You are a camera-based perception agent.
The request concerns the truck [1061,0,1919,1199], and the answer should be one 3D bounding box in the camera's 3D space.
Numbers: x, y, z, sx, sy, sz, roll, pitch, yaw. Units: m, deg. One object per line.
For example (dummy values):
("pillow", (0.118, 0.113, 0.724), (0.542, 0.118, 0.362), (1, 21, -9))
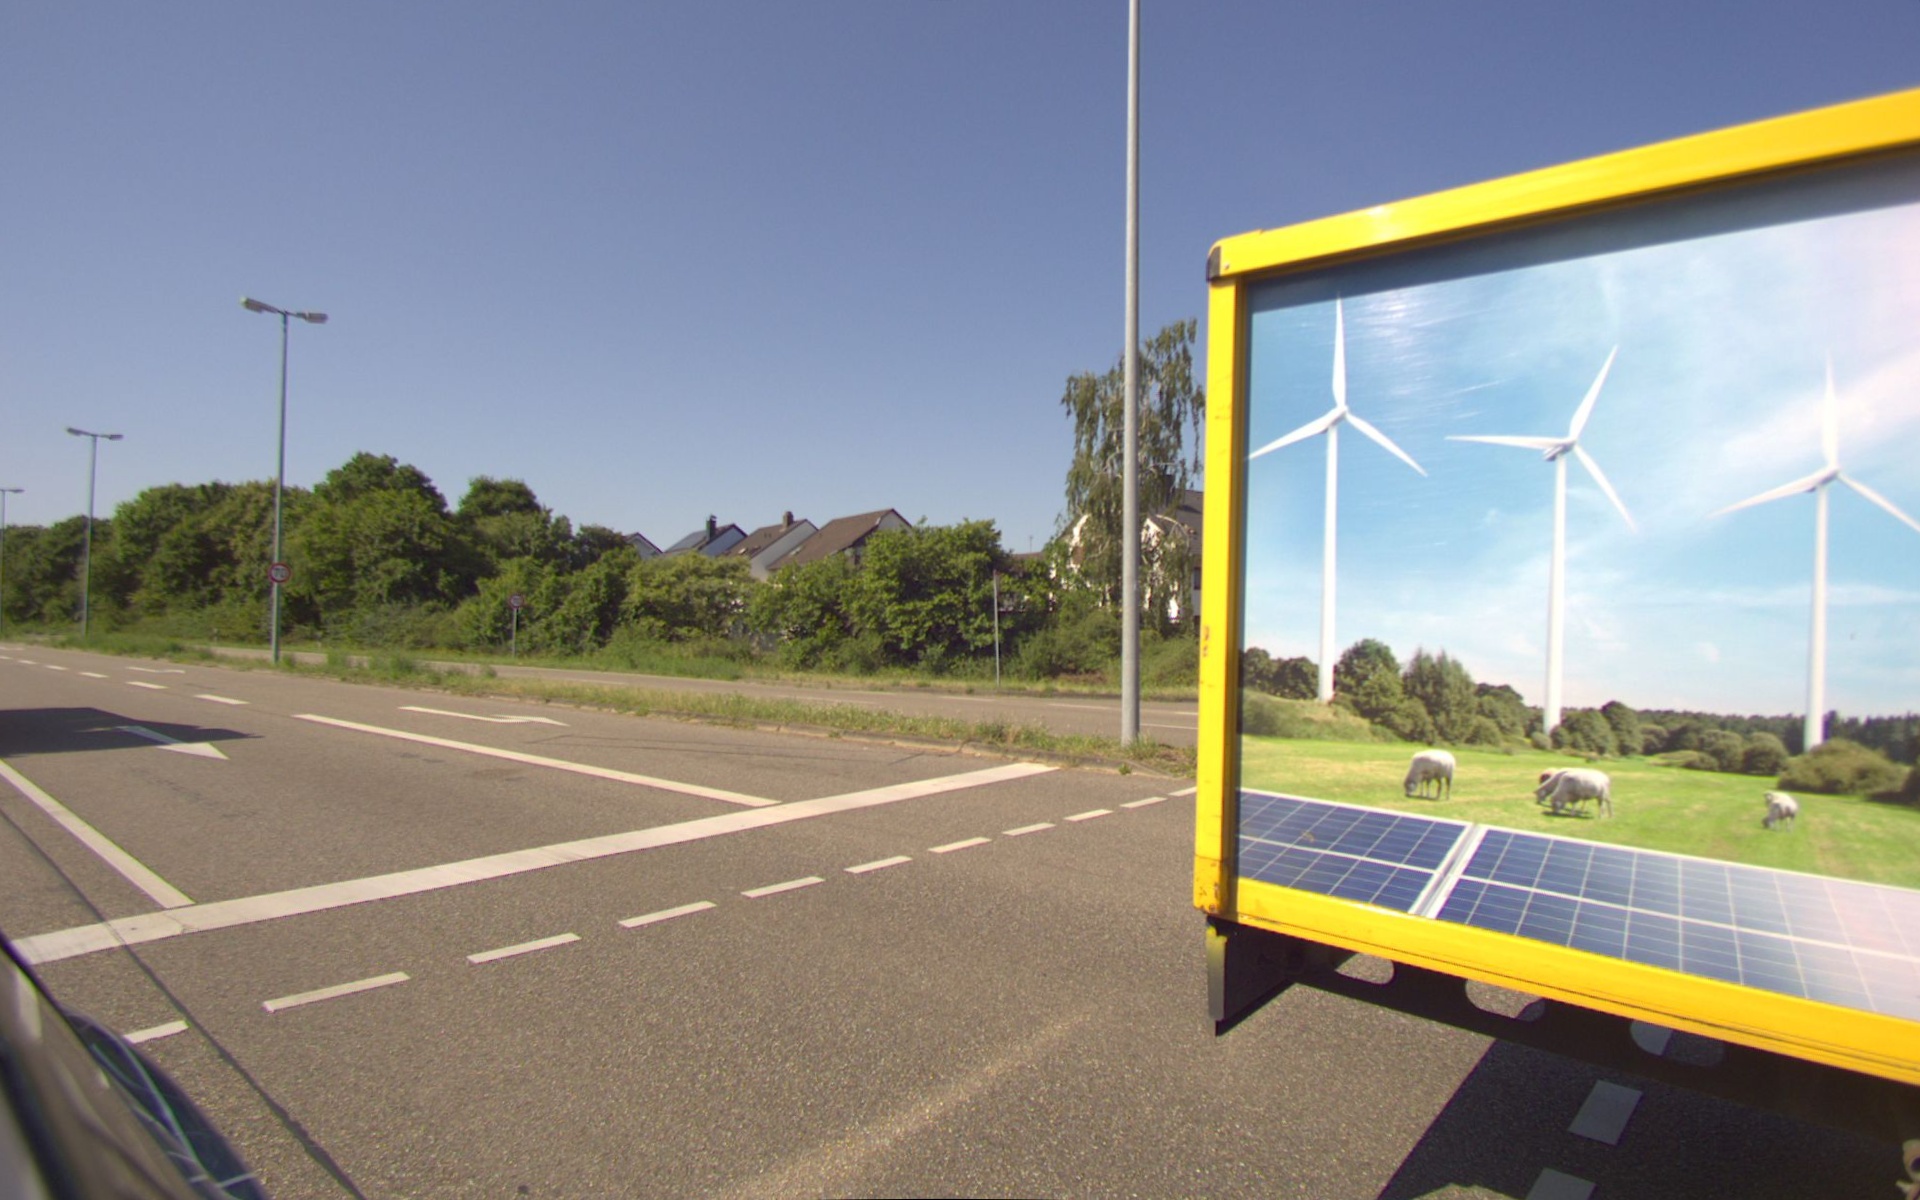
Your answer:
("truck", (3.132, 0.226, 1.138), (5.914, 2.476, 2.090), (-1, -1, 41))
